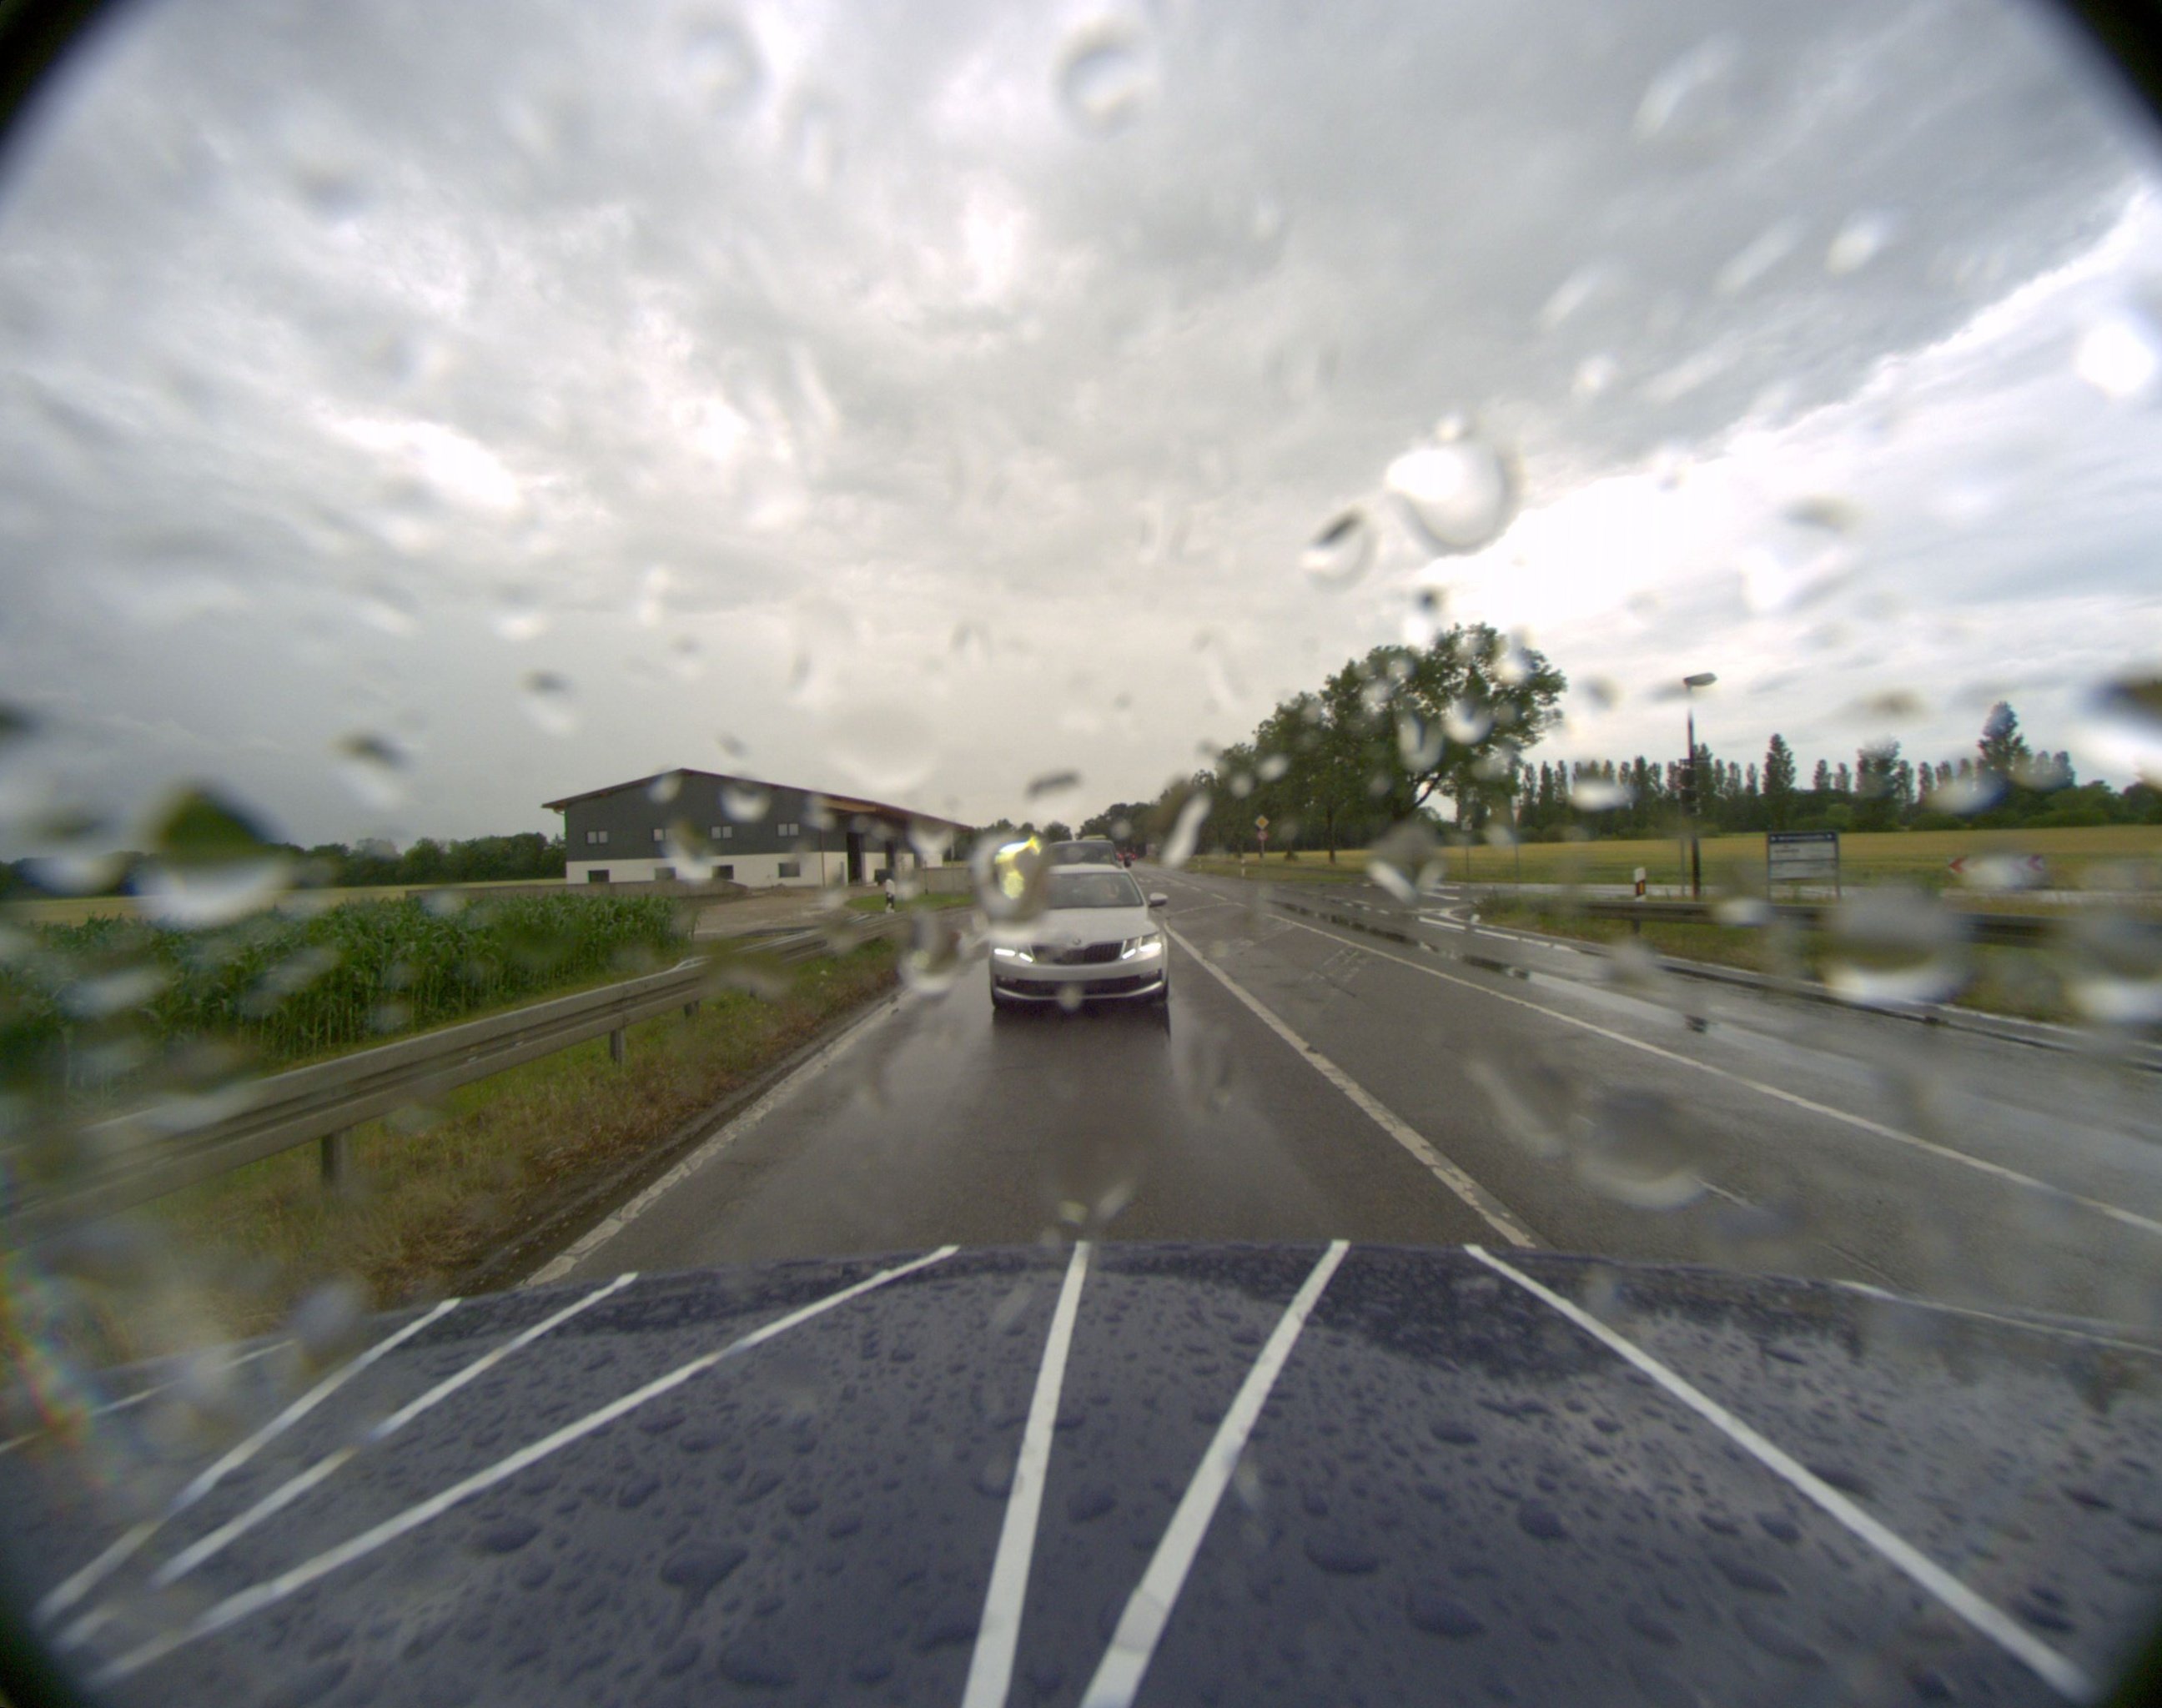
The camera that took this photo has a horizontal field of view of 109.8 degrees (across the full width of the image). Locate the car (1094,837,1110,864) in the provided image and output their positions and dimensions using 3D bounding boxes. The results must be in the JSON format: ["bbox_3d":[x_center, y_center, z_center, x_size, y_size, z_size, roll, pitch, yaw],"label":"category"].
[{"bbox_3d":[2.477,-0.379,91.741,1.771,3.134,4.028,-2,0,1],"label":"car"}]

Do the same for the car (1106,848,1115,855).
[{"bbox_3d":[7.022,-0.585,178.645,1.949,1.571,4.443,-2,0,1],"label":"car"}]

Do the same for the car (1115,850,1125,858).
[{"bbox_3d":[7.605,-0.014,149.234,1.773,1.514,4.141,0,0,1],"label":"car"}]

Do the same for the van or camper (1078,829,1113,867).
[{"bbox_3d":[1.576,-0.611,79.420,3.342,3.624,8.373,-2,1,2],"label":"van or camper"}]

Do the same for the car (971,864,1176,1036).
[{"bbox_3d":[-0.005,0.892,9.033,1.770,1.365,4.576,-2,0,2],"label":"car"}]

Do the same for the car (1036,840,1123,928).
[{"bbox_3d":[0.036,0.652,19.105,1.841,1.888,4.576,-2,0,2],"label":"car"}]
